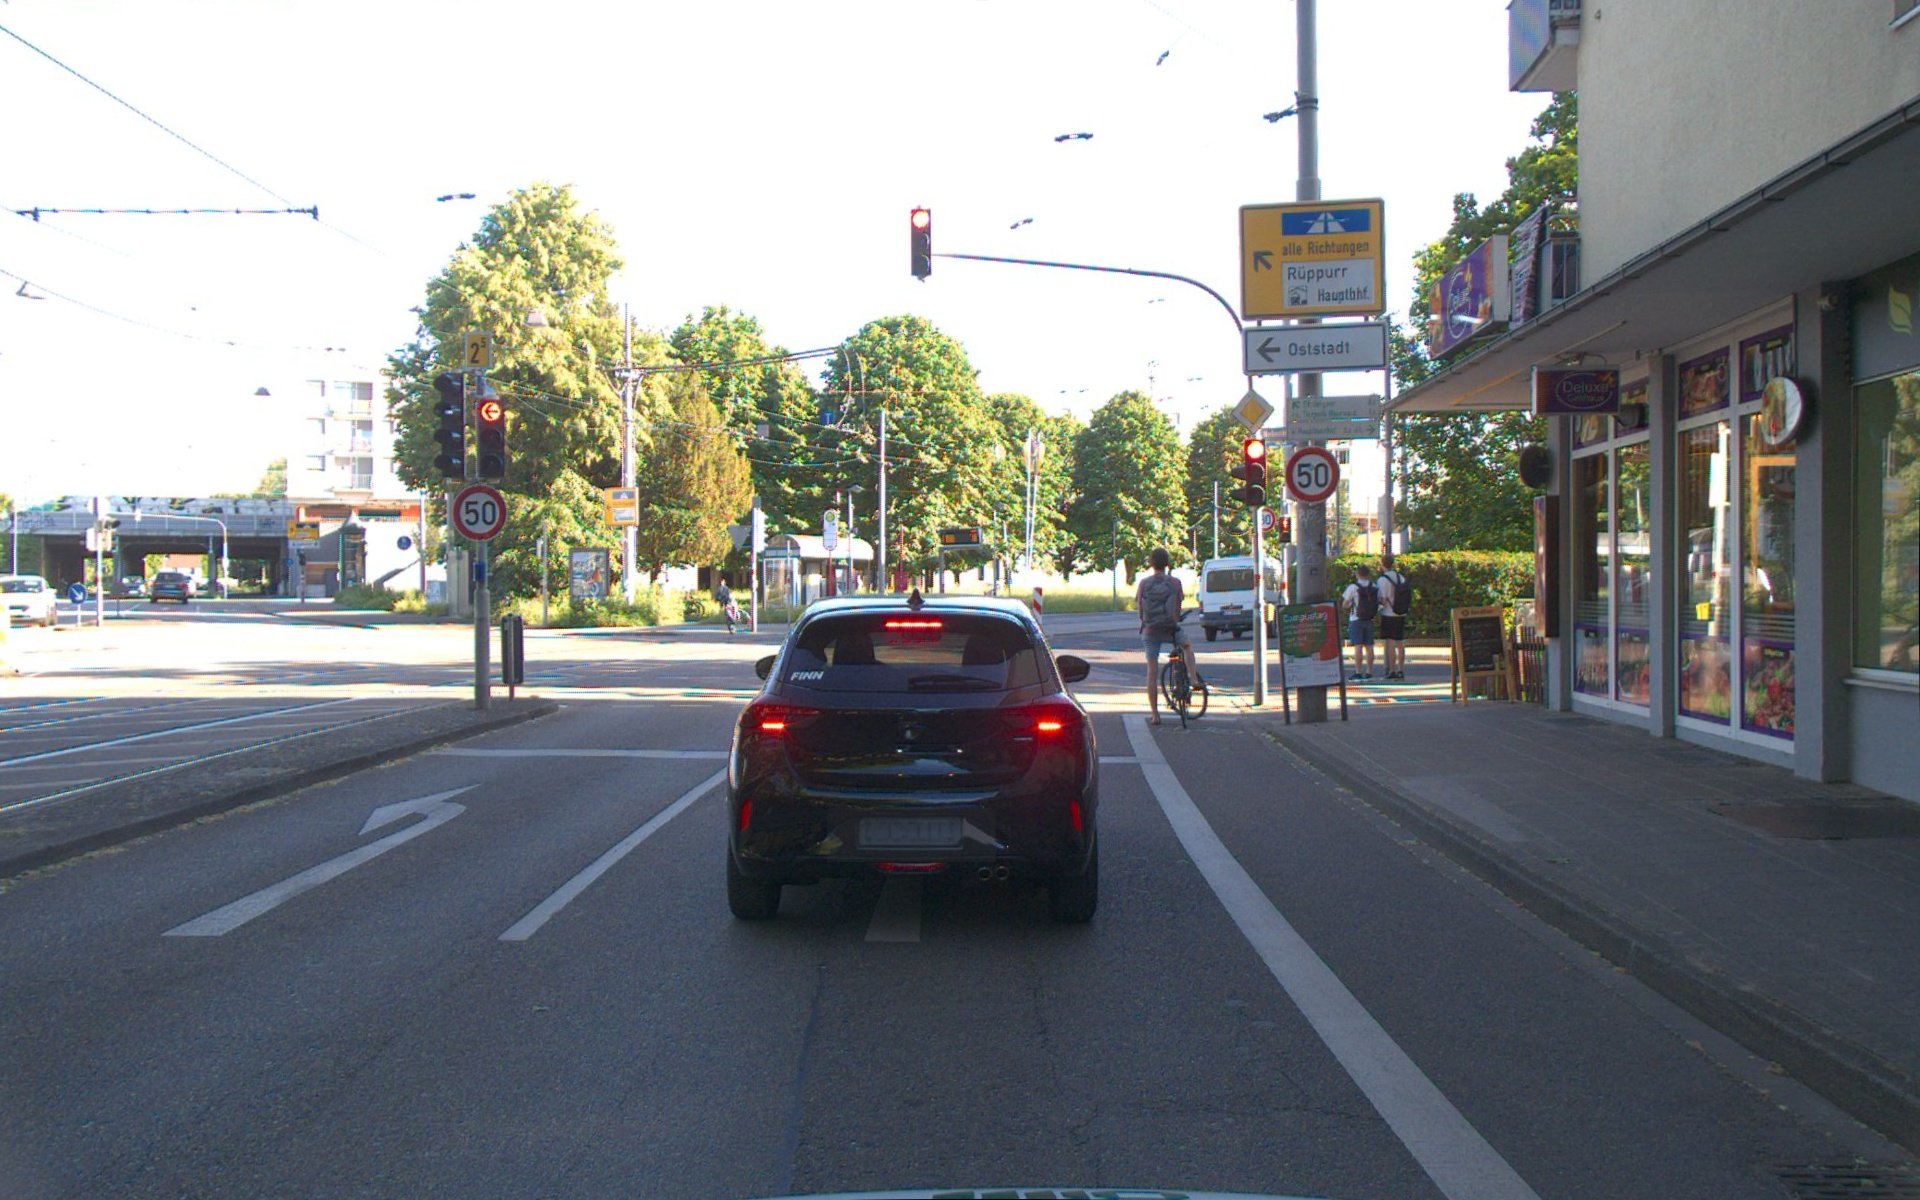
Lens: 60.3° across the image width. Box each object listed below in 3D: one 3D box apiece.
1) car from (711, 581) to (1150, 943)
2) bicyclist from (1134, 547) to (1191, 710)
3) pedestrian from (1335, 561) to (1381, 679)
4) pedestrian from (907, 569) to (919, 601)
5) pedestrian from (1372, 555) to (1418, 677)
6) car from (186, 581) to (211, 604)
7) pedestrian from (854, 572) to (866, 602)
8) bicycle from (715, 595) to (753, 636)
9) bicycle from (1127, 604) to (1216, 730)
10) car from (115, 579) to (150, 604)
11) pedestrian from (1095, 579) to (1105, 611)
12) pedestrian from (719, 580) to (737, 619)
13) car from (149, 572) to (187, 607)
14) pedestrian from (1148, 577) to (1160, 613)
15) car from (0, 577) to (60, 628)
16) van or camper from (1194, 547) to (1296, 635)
[{"bbox_3d":[-0.147,0.647,8.804,1.803,1.487,3.983,0,1,-1],"label":"car"},{"bbox_3d":[2.181,0.299,17.803,0.522,1.722,0.568,0,0,16],"label":"bicyclist"},{"bbox_3d":[6.177,0.309,25.633,0.620,1.794,0.582,1,-1,19],"label":"pedestrian"},{"bbox_3d":[-2.811,-0.886,99.656,0.607,1.904,0.520,1,-1,7],"label":"pedestrian"},{"bbox_3d":[6.731,0.246,25.574,0.620,1.852,0.745,1,-1,19],"label":"pedestrian"},{"bbox_3d":[-59.256,-0.578,128.777,1.732,1.713,3.712,1,0,-25],"label":"car"},{"bbox_3d":[-6.369,-0.805,105.573,0.723,1.904,0.661,1,-1,-7],"label":"pedestrian"},{"bbox_3d":[-6.304,0.416,46.236,0.780,1.083,2.184,0,1,-1],"label":"bicycle"},{"bbox_3d":[2.324,0.688,17.976,0.737,1.256,2.017,0,1,14],"label":"bicycle"},{"bbox_3d":[-55.316,-0.584,110.618,1.860,1.613,3.809,1,0,-24],"label":"car"},{"bbox_3d":[8.405,-0.272,99.395,0.591,1.904,0.520,1,-1,7],"label":"pedestrian"},{"bbox_3d":[-8.973,-0.035,63.923,0.558,1.498,0.666,0,0,4],"label":"pedestrian"},{"bbox_3d":[-45.505,-0.603,95.111,1.884,1.914,4.808,-1,1,-25],"label":"car"},{"bbox_3d":[10.326,-0.286,88.050,0.591,1.904,0.519,1,-1,2],"label":"pedestrian"},{"bbox_3d":[-31.161,0.066,54.929,1.860,1.613,3.809,1,0,-24],"label":"car"},{"bbox_3d":[8.060,-0.225,46.413,1.987,2.351,4.540,1,0,20],"label":"van or camper"}]
